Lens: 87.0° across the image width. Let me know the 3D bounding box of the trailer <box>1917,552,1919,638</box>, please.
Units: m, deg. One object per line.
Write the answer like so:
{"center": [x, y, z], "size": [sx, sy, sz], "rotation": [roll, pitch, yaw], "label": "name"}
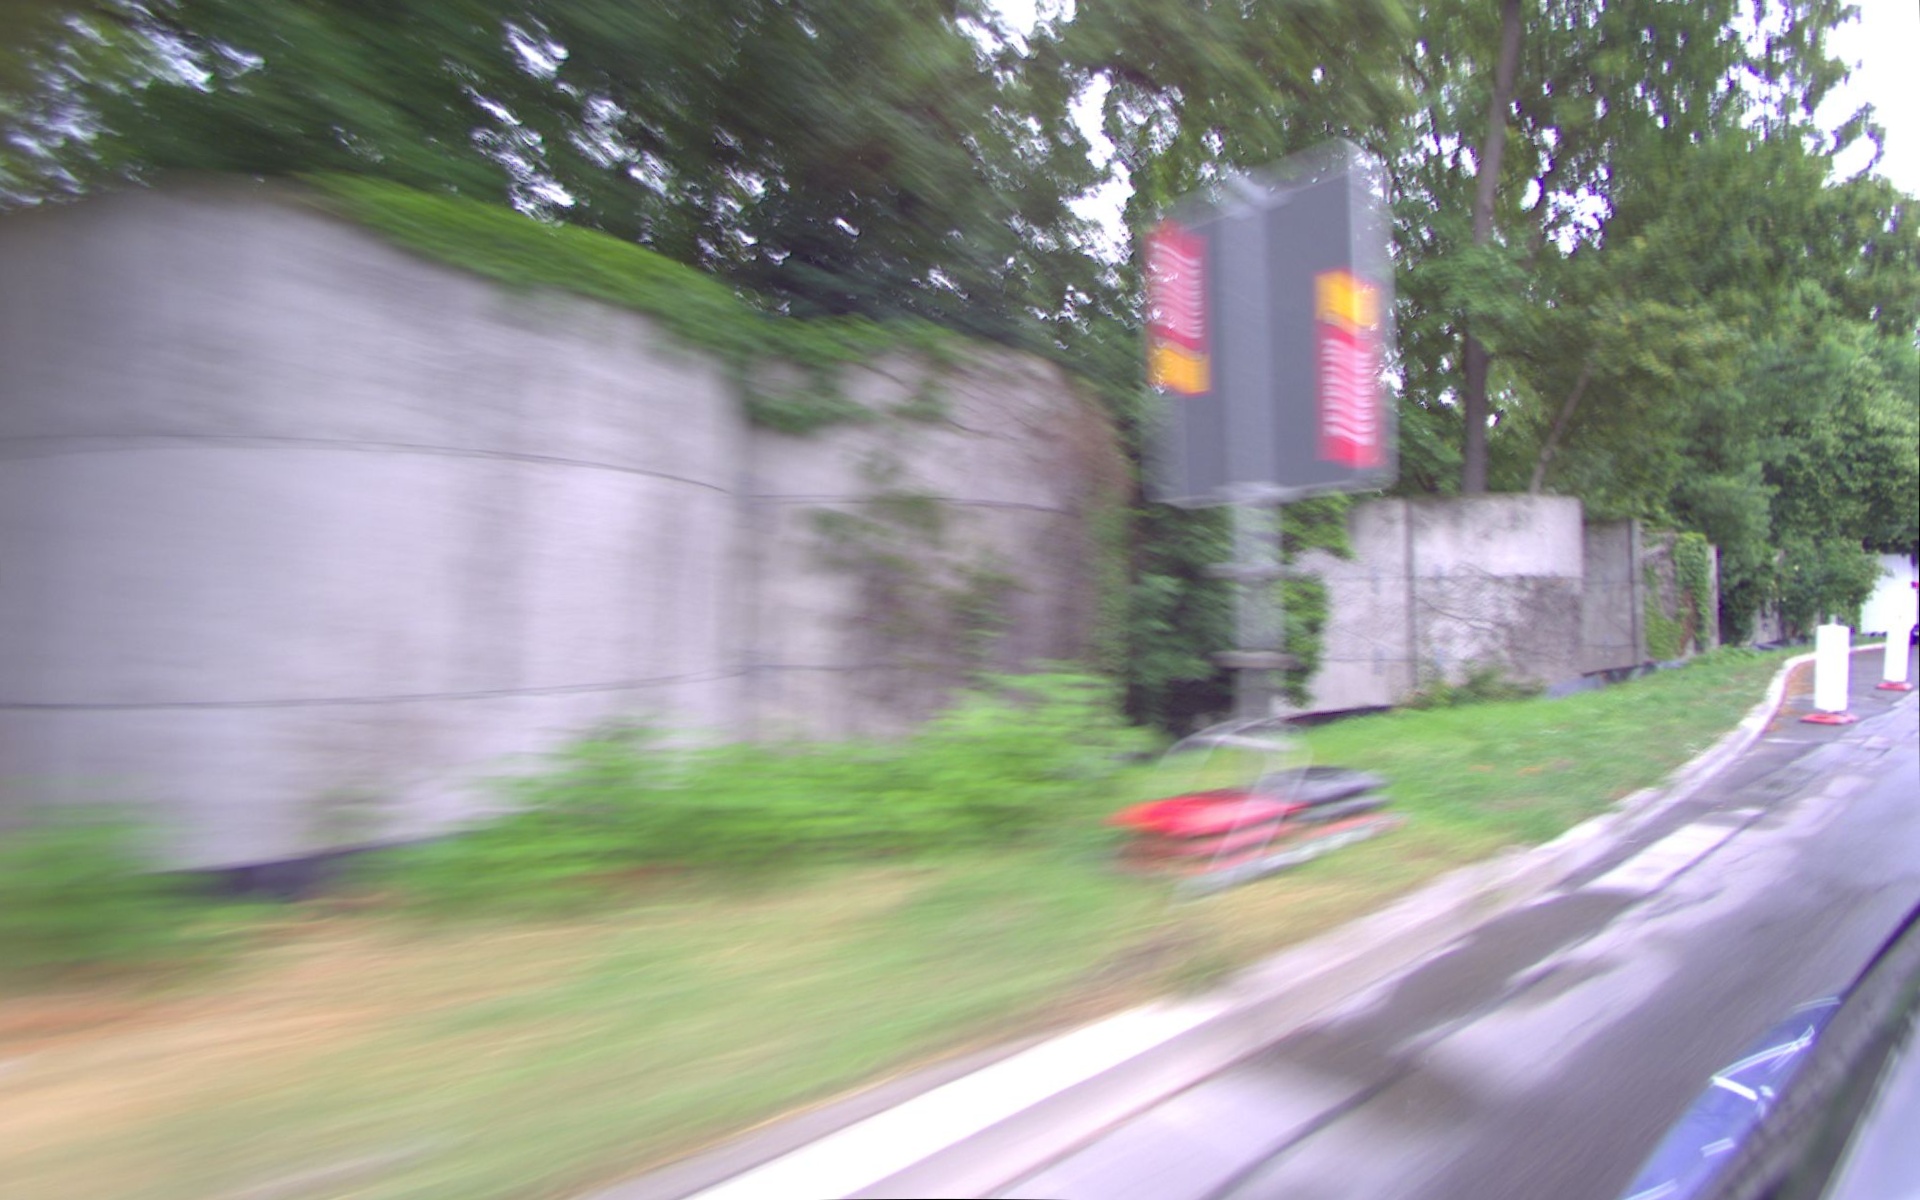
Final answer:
{"center": [43.773, -0.184, 43.678], "size": [5.844, 3.634, 2.316], "rotation": [0, 0, -34], "label": "trailer"}
